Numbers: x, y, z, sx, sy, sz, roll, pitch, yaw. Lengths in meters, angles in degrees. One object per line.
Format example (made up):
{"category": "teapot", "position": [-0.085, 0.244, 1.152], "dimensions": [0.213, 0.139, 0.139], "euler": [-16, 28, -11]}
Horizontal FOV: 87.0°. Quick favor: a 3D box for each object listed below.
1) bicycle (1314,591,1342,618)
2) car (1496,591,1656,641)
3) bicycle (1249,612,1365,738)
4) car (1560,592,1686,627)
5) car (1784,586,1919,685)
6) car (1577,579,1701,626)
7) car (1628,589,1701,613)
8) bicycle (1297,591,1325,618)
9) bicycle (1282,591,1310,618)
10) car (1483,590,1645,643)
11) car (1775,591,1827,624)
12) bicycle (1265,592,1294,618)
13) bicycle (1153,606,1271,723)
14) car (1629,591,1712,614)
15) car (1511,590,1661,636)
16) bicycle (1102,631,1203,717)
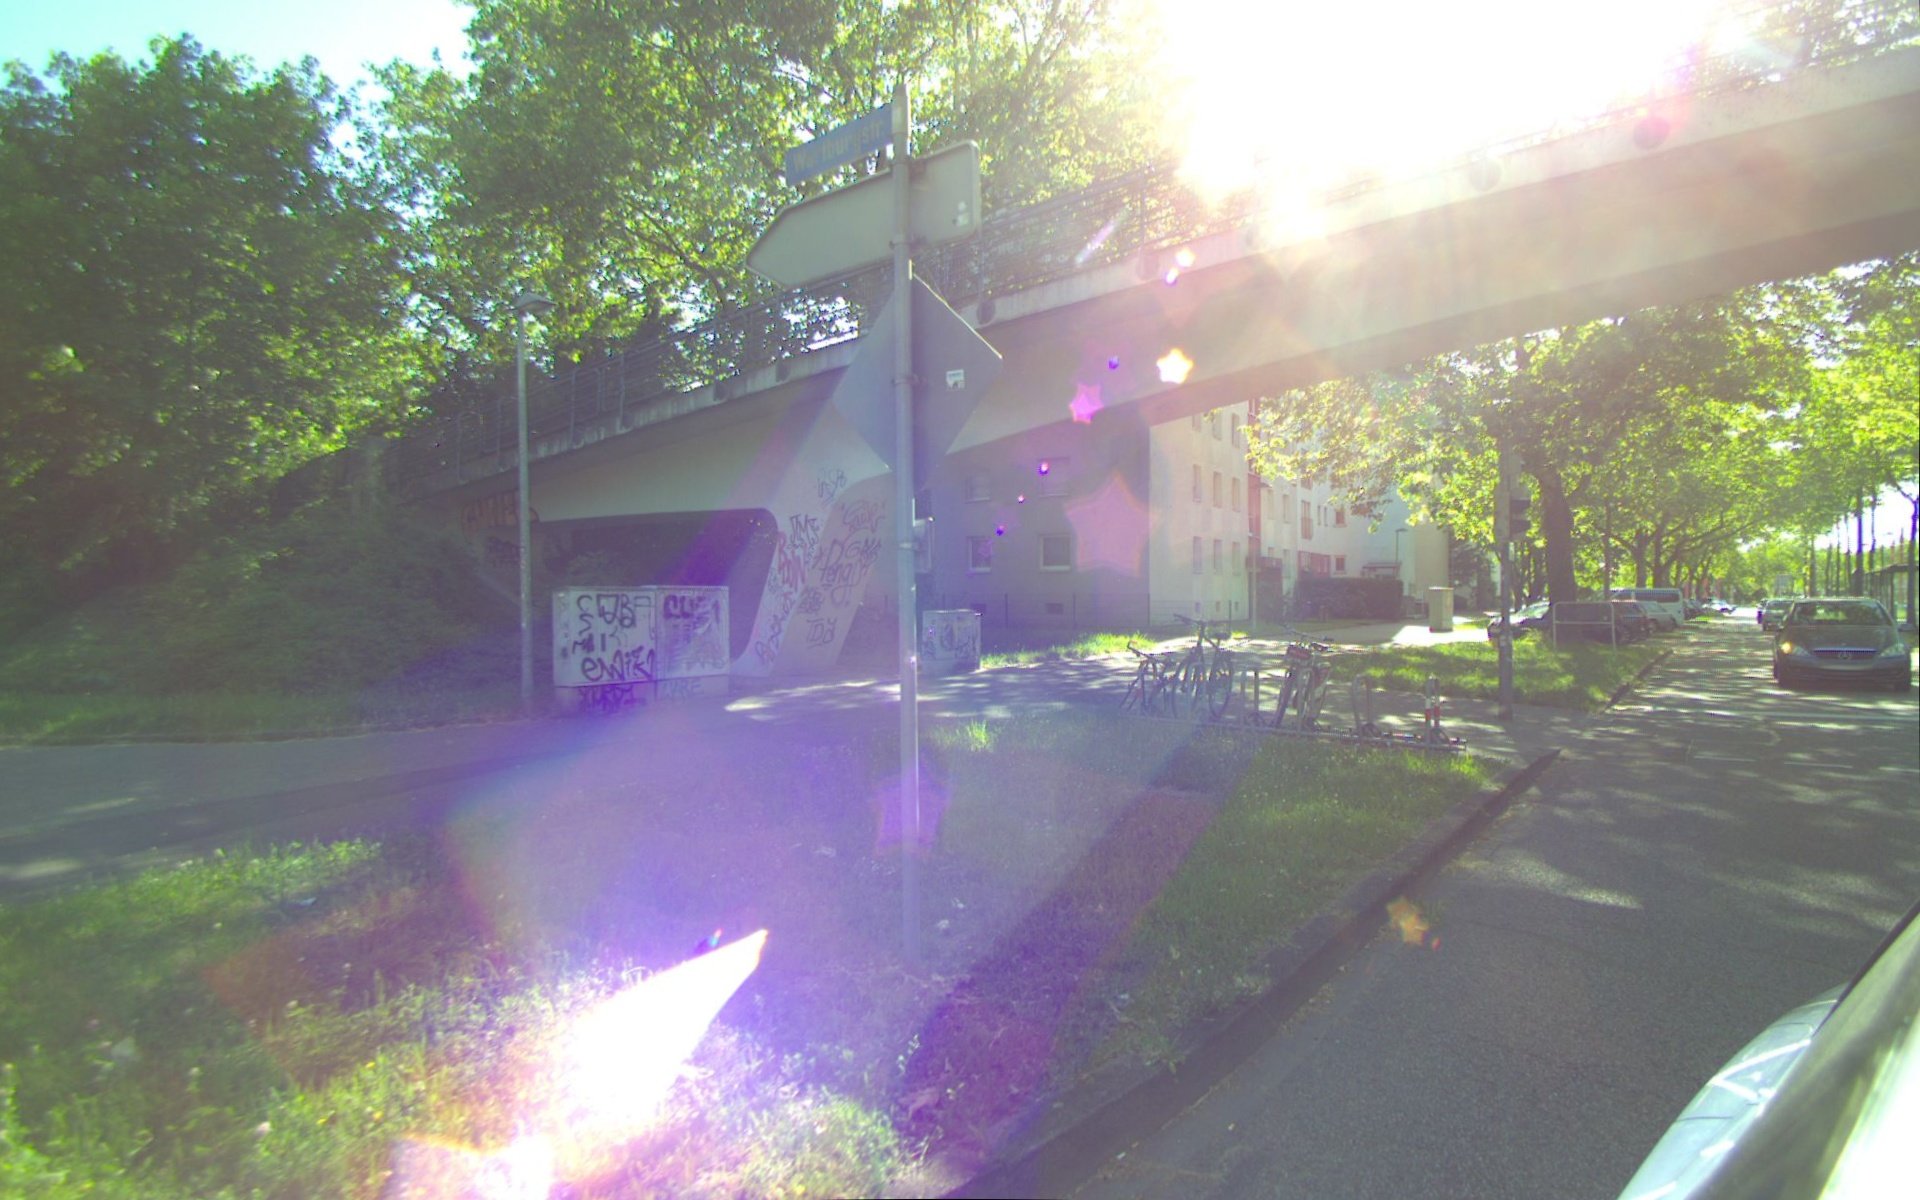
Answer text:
{"category": "bicycle", "position": [15.471, 0.185, 42.537], "dimensions": [0.589, 1.122, 1.775], "euler": [-1, 0, 38]}
{"category": "car", "position": [20.364, 0.500, 33.563], "dimensions": [4.175, 1.480, 1.801], "euler": [1, 1, -1]}
{"category": "bicycle", "position": [3.721, 0.742, 10.775], "dimensions": [0.589, 1.197, 1.775], "euler": [3, 1, 37]}
{"category": "car", "position": [29.961, 0.413, 45.782], "dimensions": [4.500, 1.441, 1.801], "euler": [1, 1, -2]}
{"category": "car", "position": [16.129, 0.577, 18.296], "dimensions": [1.790, 1.610, 3.711], "euler": [-2, -1, 38]}
{"category": "car", "position": [32.393, 0.081, 48.388], "dimensions": [4.502, 2.078, 2.018], "euler": [1, 1, -1]}
{"category": "car", "position": [50.330, 0.078, 72.380], "dimensions": [3.923, 1.595, 1.801], "euler": [1, 1, -1]}
{"category": "bicycle", "position": [14.921, 0.188, 42.995], "dimensions": [0.589, 1.122, 1.775], "euler": [-1, 0, 38]}
{"category": "bicycle", "position": [14.418, 0.195, 43.400], "dimensions": [0.589, 1.122, 1.775], "euler": [-1, 0, 38]}
{"category": "car", "position": [18.524, 0.492, 31.123], "dimensions": [3.920, 1.480, 1.802], "euler": [1, 1, -5]}
{"category": "car", "position": [42.273, 0.355, 50.947], "dimensions": [1.790, 1.558, 3.947], "euler": [1, 0, 37]}
{"category": "bicycle", "position": [13.876, 0.209, 43.900], "dimensions": [0.589, 1.122, 1.775], "euler": [-1, 0, 38]}
{"category": "bicycle", "position": [2.885, 0.682, 11.477], "dimensions": [0.589, 1.197, 1.775], "euler": [3, 1, 37]}
{"category": "car", "position": [48.181, 0.164, 68.683], "dimensions": [4.497, 1.440, 1.802], "euler": [1, 1, -6]}
{"category": "car", "position": [22.200, 0.446, 35.989], "dimensions": [4.175, 1.480, 1.801], "euler": [1, 1, -1]}
{"category": "bicycle", "position": [2.215, 0.818, 11.559], "dimensions": [0.504, 0.862, 1.453], "euler": [3, 1, 37]}
